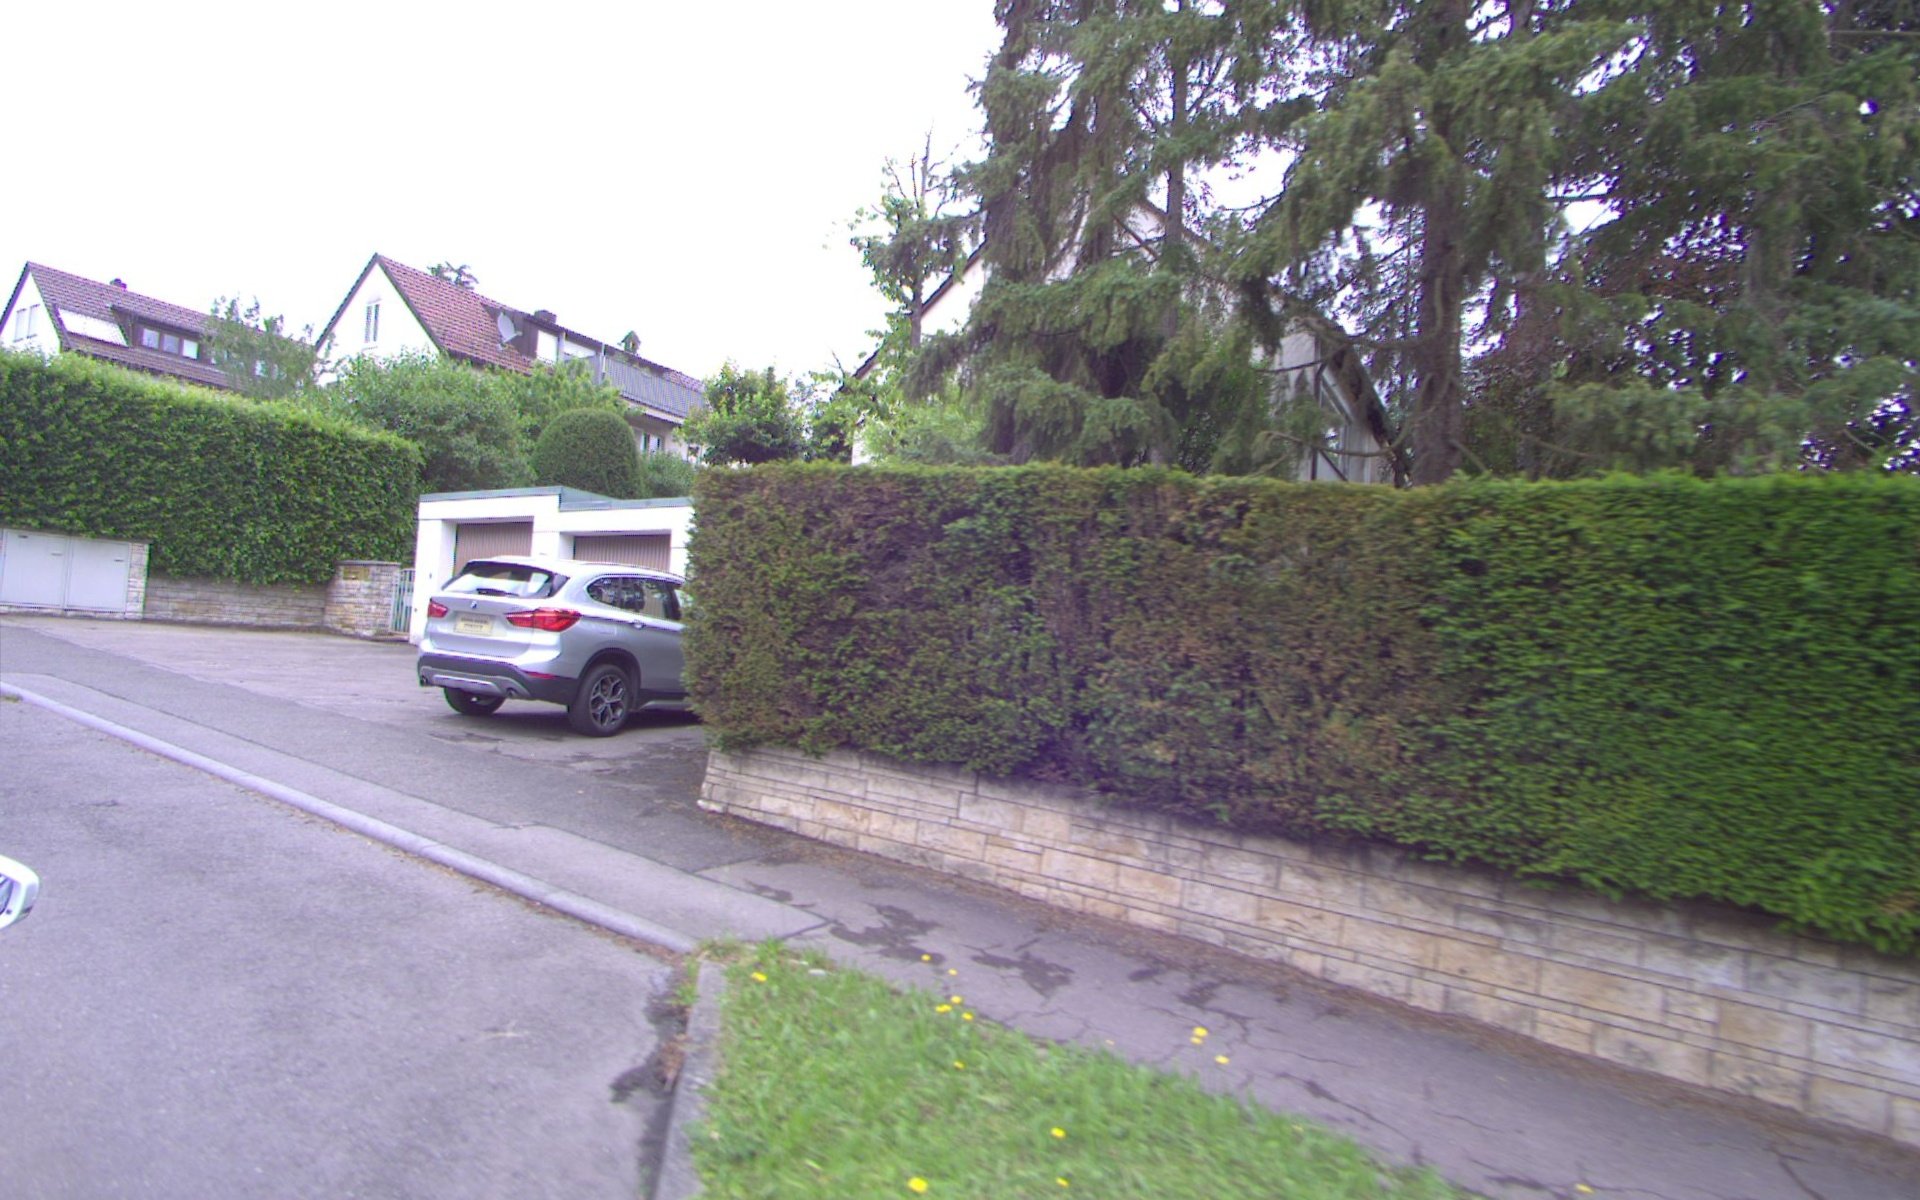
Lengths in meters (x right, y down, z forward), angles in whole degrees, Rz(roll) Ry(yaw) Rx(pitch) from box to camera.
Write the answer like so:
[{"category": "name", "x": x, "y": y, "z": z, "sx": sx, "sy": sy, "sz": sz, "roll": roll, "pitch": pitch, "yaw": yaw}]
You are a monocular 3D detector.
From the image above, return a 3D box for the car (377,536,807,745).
[{"category": "car", "x": -3.594, "y": 0.456, "z": 10.756, "sx": 1.847, "sy": 1.618, "sz": 4.221, "roll": 7, "pitch": -1, "yaw": 22}]
